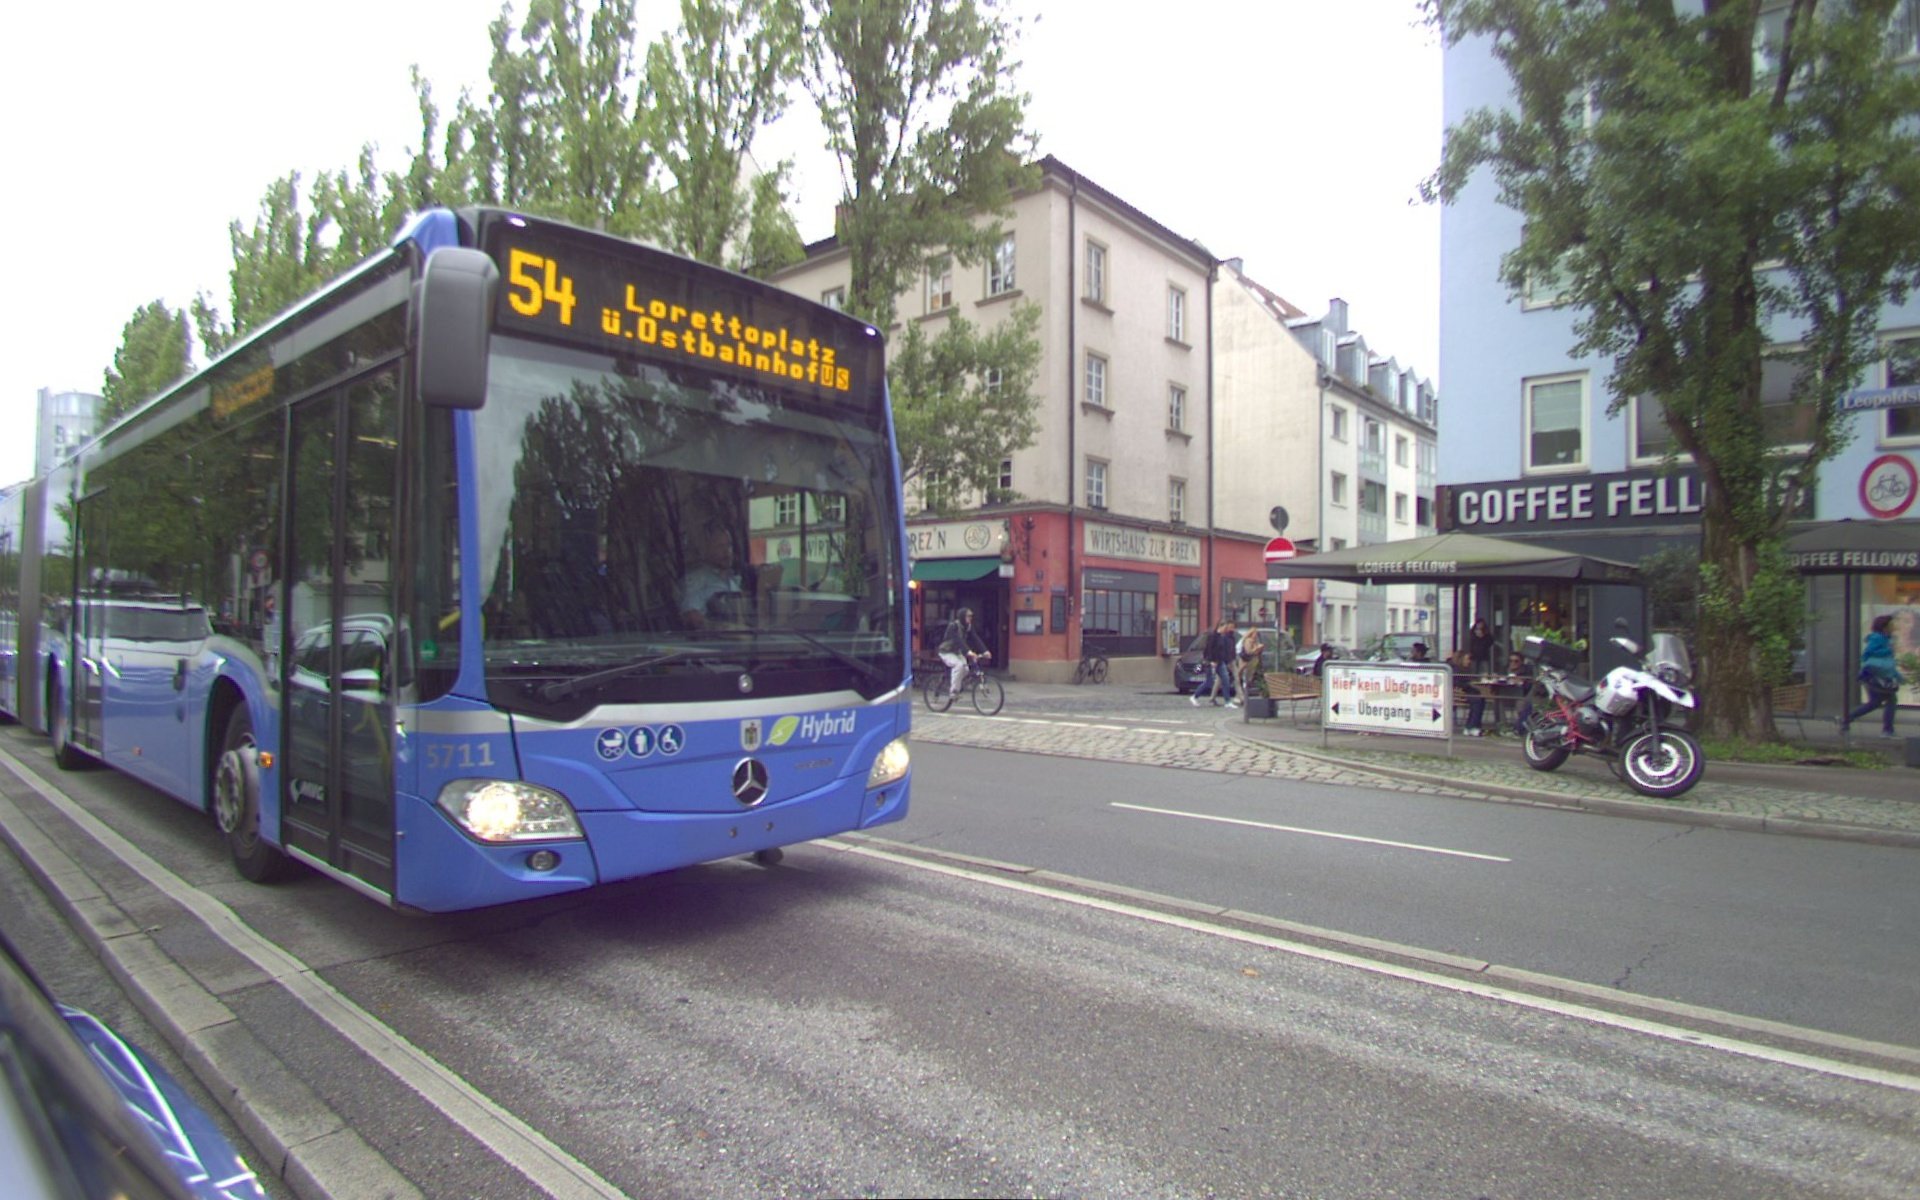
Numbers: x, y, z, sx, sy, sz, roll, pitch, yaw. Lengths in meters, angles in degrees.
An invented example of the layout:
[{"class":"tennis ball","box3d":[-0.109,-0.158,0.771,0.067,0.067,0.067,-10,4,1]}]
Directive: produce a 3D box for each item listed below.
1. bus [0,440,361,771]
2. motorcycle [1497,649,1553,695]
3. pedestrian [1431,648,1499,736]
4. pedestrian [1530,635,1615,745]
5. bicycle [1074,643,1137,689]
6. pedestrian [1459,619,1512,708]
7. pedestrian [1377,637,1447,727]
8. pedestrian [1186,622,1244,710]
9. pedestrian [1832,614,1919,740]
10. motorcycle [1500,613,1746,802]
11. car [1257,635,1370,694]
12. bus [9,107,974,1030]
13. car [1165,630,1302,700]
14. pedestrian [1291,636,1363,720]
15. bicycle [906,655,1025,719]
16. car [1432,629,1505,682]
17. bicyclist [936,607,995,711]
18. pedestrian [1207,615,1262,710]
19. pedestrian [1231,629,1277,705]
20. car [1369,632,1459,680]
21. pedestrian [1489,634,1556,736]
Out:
[{"class":"bus","box3d":[-11.246,0.158,13.381,10.046,2.972,2.655,-1,-2,41]},{"class":"motorcycle","box3d":[15.687,1.981,28.044,0.738,1.213,2.729,-4,-4,42]},{"class":"pedestrian","box3d":[7.164,1.282,14.358,0.699,1.192,0.807,-1,-3,39]},{"class":"pedestrian","box3d":[8.030,1.149,13.274,0.847,1.373,0.690,-1,-3,40]},{"class":"bicycle","box3d":[4.013,1.787,27.793,0.645,1.214,2.317,-1,-3,39]},{"class":"pedestrian","box3d":[10.867,1.293,20.968,0.692,1.786,0.947,0,-2,10]},{"class":"pedestrian","box3d":[7.184,1.276,16.095,0.819,1.373,0.690,-2,-3,43]},{"class":"pedestrian","box3d":[5.220,1.334,20.727,0.950,1.735,0.690,-2,-3,44]},{"class":"pedestrian","box3d":[12.572,1.031,13.820,0.950,1.659,0.690,-2,-3,43]},{"class":"motorcycle","box3d":[6.165,0.918,9.634,0.704,1.575,2.348,0,-1,-2]},{"class":"car","box3d":[11.524,2.071,32.787,1.982,1.780,4.525,-1,-4,40]},{"class":"bus","box3d":[-4.572,-0.006,7.570,10.046,2.972,2.661,-1,-2,41]},{"class":"car","box3d":[7.723,1.789,28.294,1.982,1.780,4.525,-1,-4,40]},{"class":"pedestrian","box3d":[6.244,1.302,17.248,0.950,1.373,0.690,-2,-3,44]},{"class":"bicycle","box3d":[0.065,1.444,17.204,2.173,0.976,0.605,-1,-2,42]},{"class":"car","box3d":[24.241,2.632,48.177,1.982,2.384,4.523,-1,-4,42]},{"class":"bicyclist","box3d":[0.099,0.984,17.192,0.816,1.718,0.598,-1,-2,42]},{"class":"pedestrian","box3d":[5.776,1.300,21.317,0.905,1.941,0.690,-2,-3,44]},{"class":"pedestrian","box3d":[6.504,1.457,22.379,0.732,1.636,0.690,-2,-3,44]},{"class":"car","box3d":[18.125,2.240,40.288,2.116,1.780,4.525,-1,-4,40]},{"class":"pedestrian","box3d":[7.896,1.168,14.195,0.699,1.373,0.706,-1,-3,39]}]
